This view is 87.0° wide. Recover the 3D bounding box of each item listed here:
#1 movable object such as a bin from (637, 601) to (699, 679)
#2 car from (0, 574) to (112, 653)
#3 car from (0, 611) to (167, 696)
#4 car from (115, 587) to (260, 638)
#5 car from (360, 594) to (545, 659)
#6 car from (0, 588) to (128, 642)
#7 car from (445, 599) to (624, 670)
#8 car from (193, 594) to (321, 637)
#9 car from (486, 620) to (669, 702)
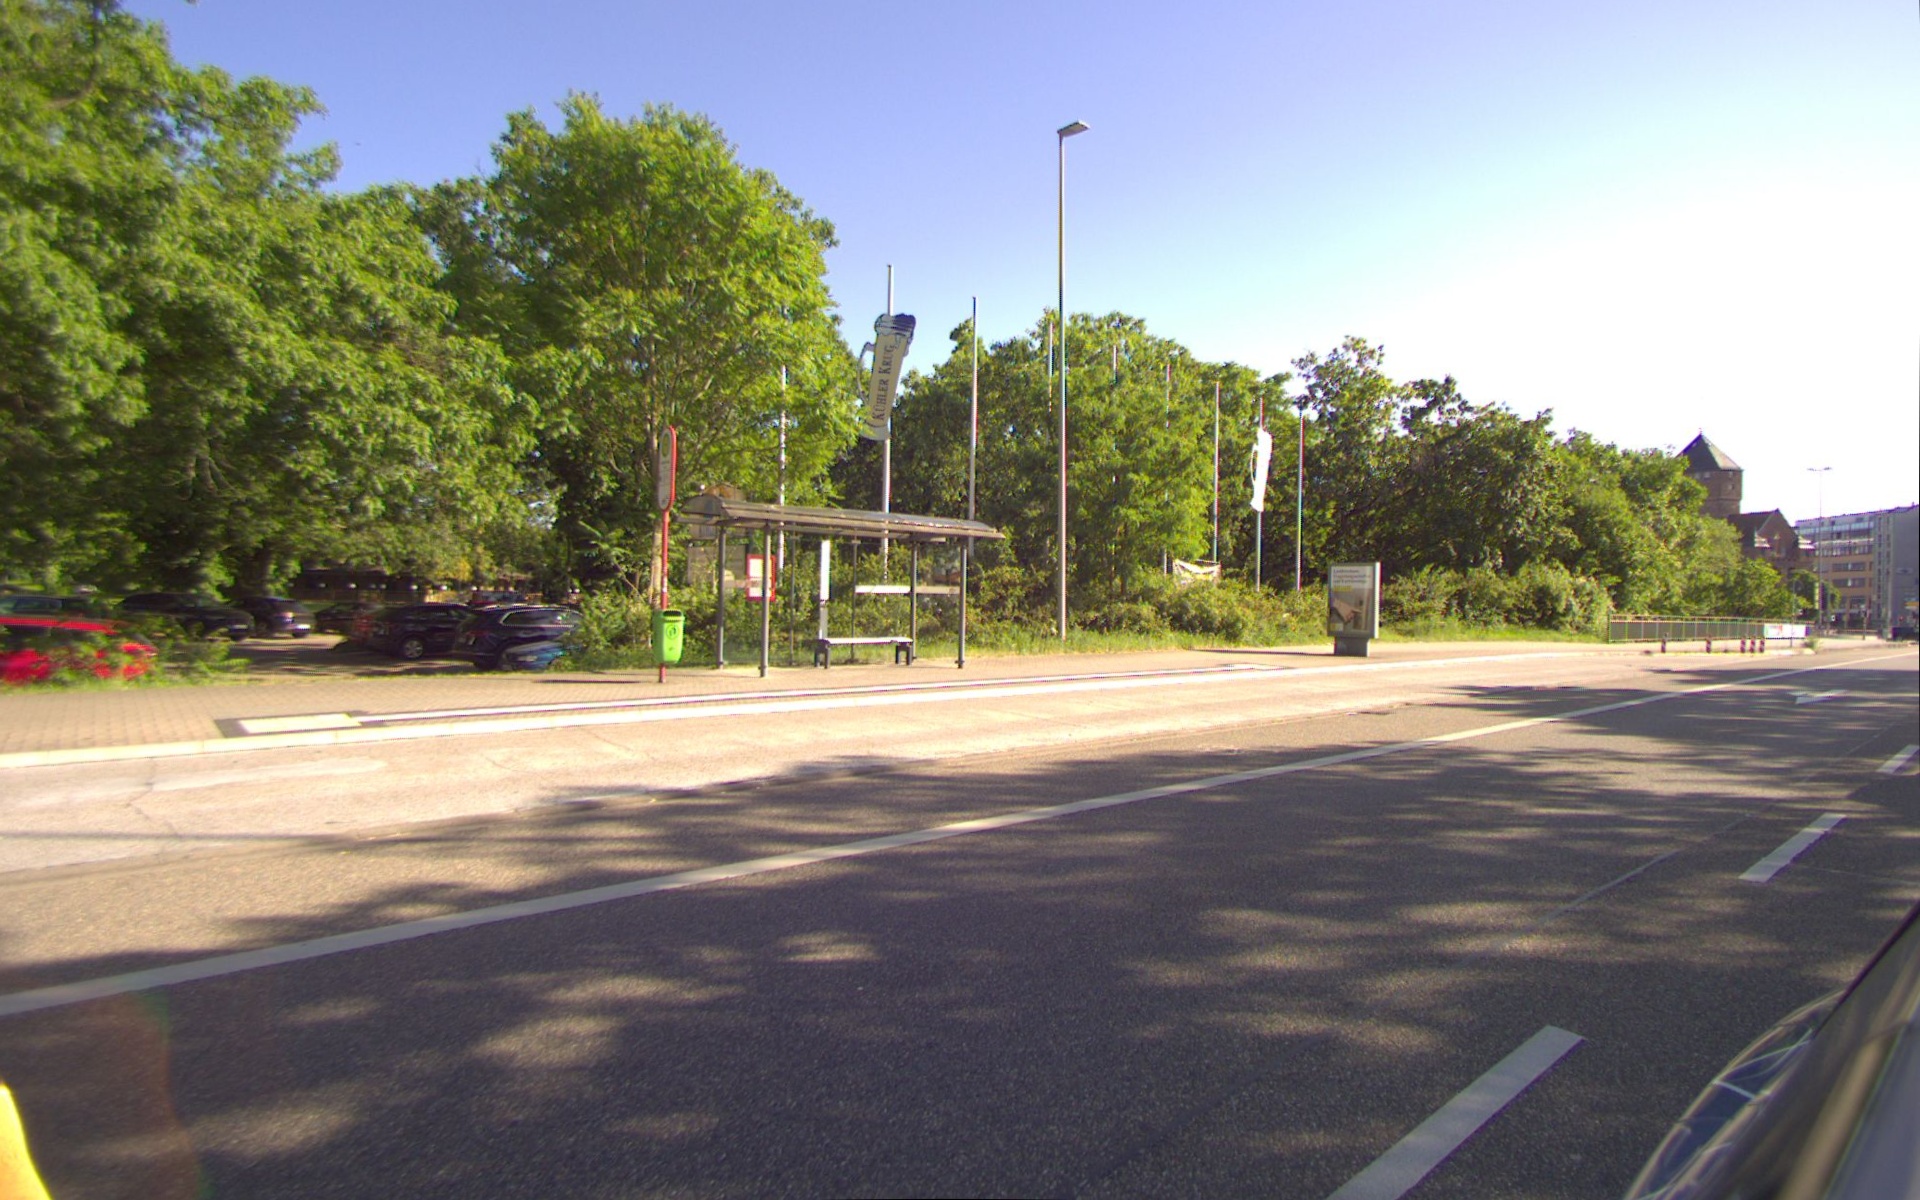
[{"bbox_3d":[-4.102,0.547,14.227,0.568,1.043,0.728,1,0,-41],"label":"movable object such as a bin"},{"bbox_3d":[-20.456,0.238,20.564,4.800,1.558,1.998,3,-3,-39],"label":"car"},{"bbox_3d":[-14.166,0.768,14.872,3.845,1.169,1.398,1,0,-43],"label":"car"},{"bbox_3d":[-27.645,0.444,36.259,3.936,1.622,1.994,2,0,11],"label":"car"},{"bbox_3d":[-15.251,0.845,30.557,4.690,1.772,1.756,3,-3,-39],"label":"car"},{"bbox_3d":[-28.242,0.441,31.001,3.918,1.575,2.003,-1,0,-27],"label":"car"},{"bbox_3d":[-10.832,0.833,25.907,3.929,1.685,1.608,1,-1,-40],"label":"car"},{"bbox_3d":[-27.173,0.592,39.159,3.936,1.467,1.780,2,0,11],"label":"car"},{"bbox_3d":[-8.741,1.319,23.232,3.549,1.658,1.765,1,0,-40],"label":"car"}]
